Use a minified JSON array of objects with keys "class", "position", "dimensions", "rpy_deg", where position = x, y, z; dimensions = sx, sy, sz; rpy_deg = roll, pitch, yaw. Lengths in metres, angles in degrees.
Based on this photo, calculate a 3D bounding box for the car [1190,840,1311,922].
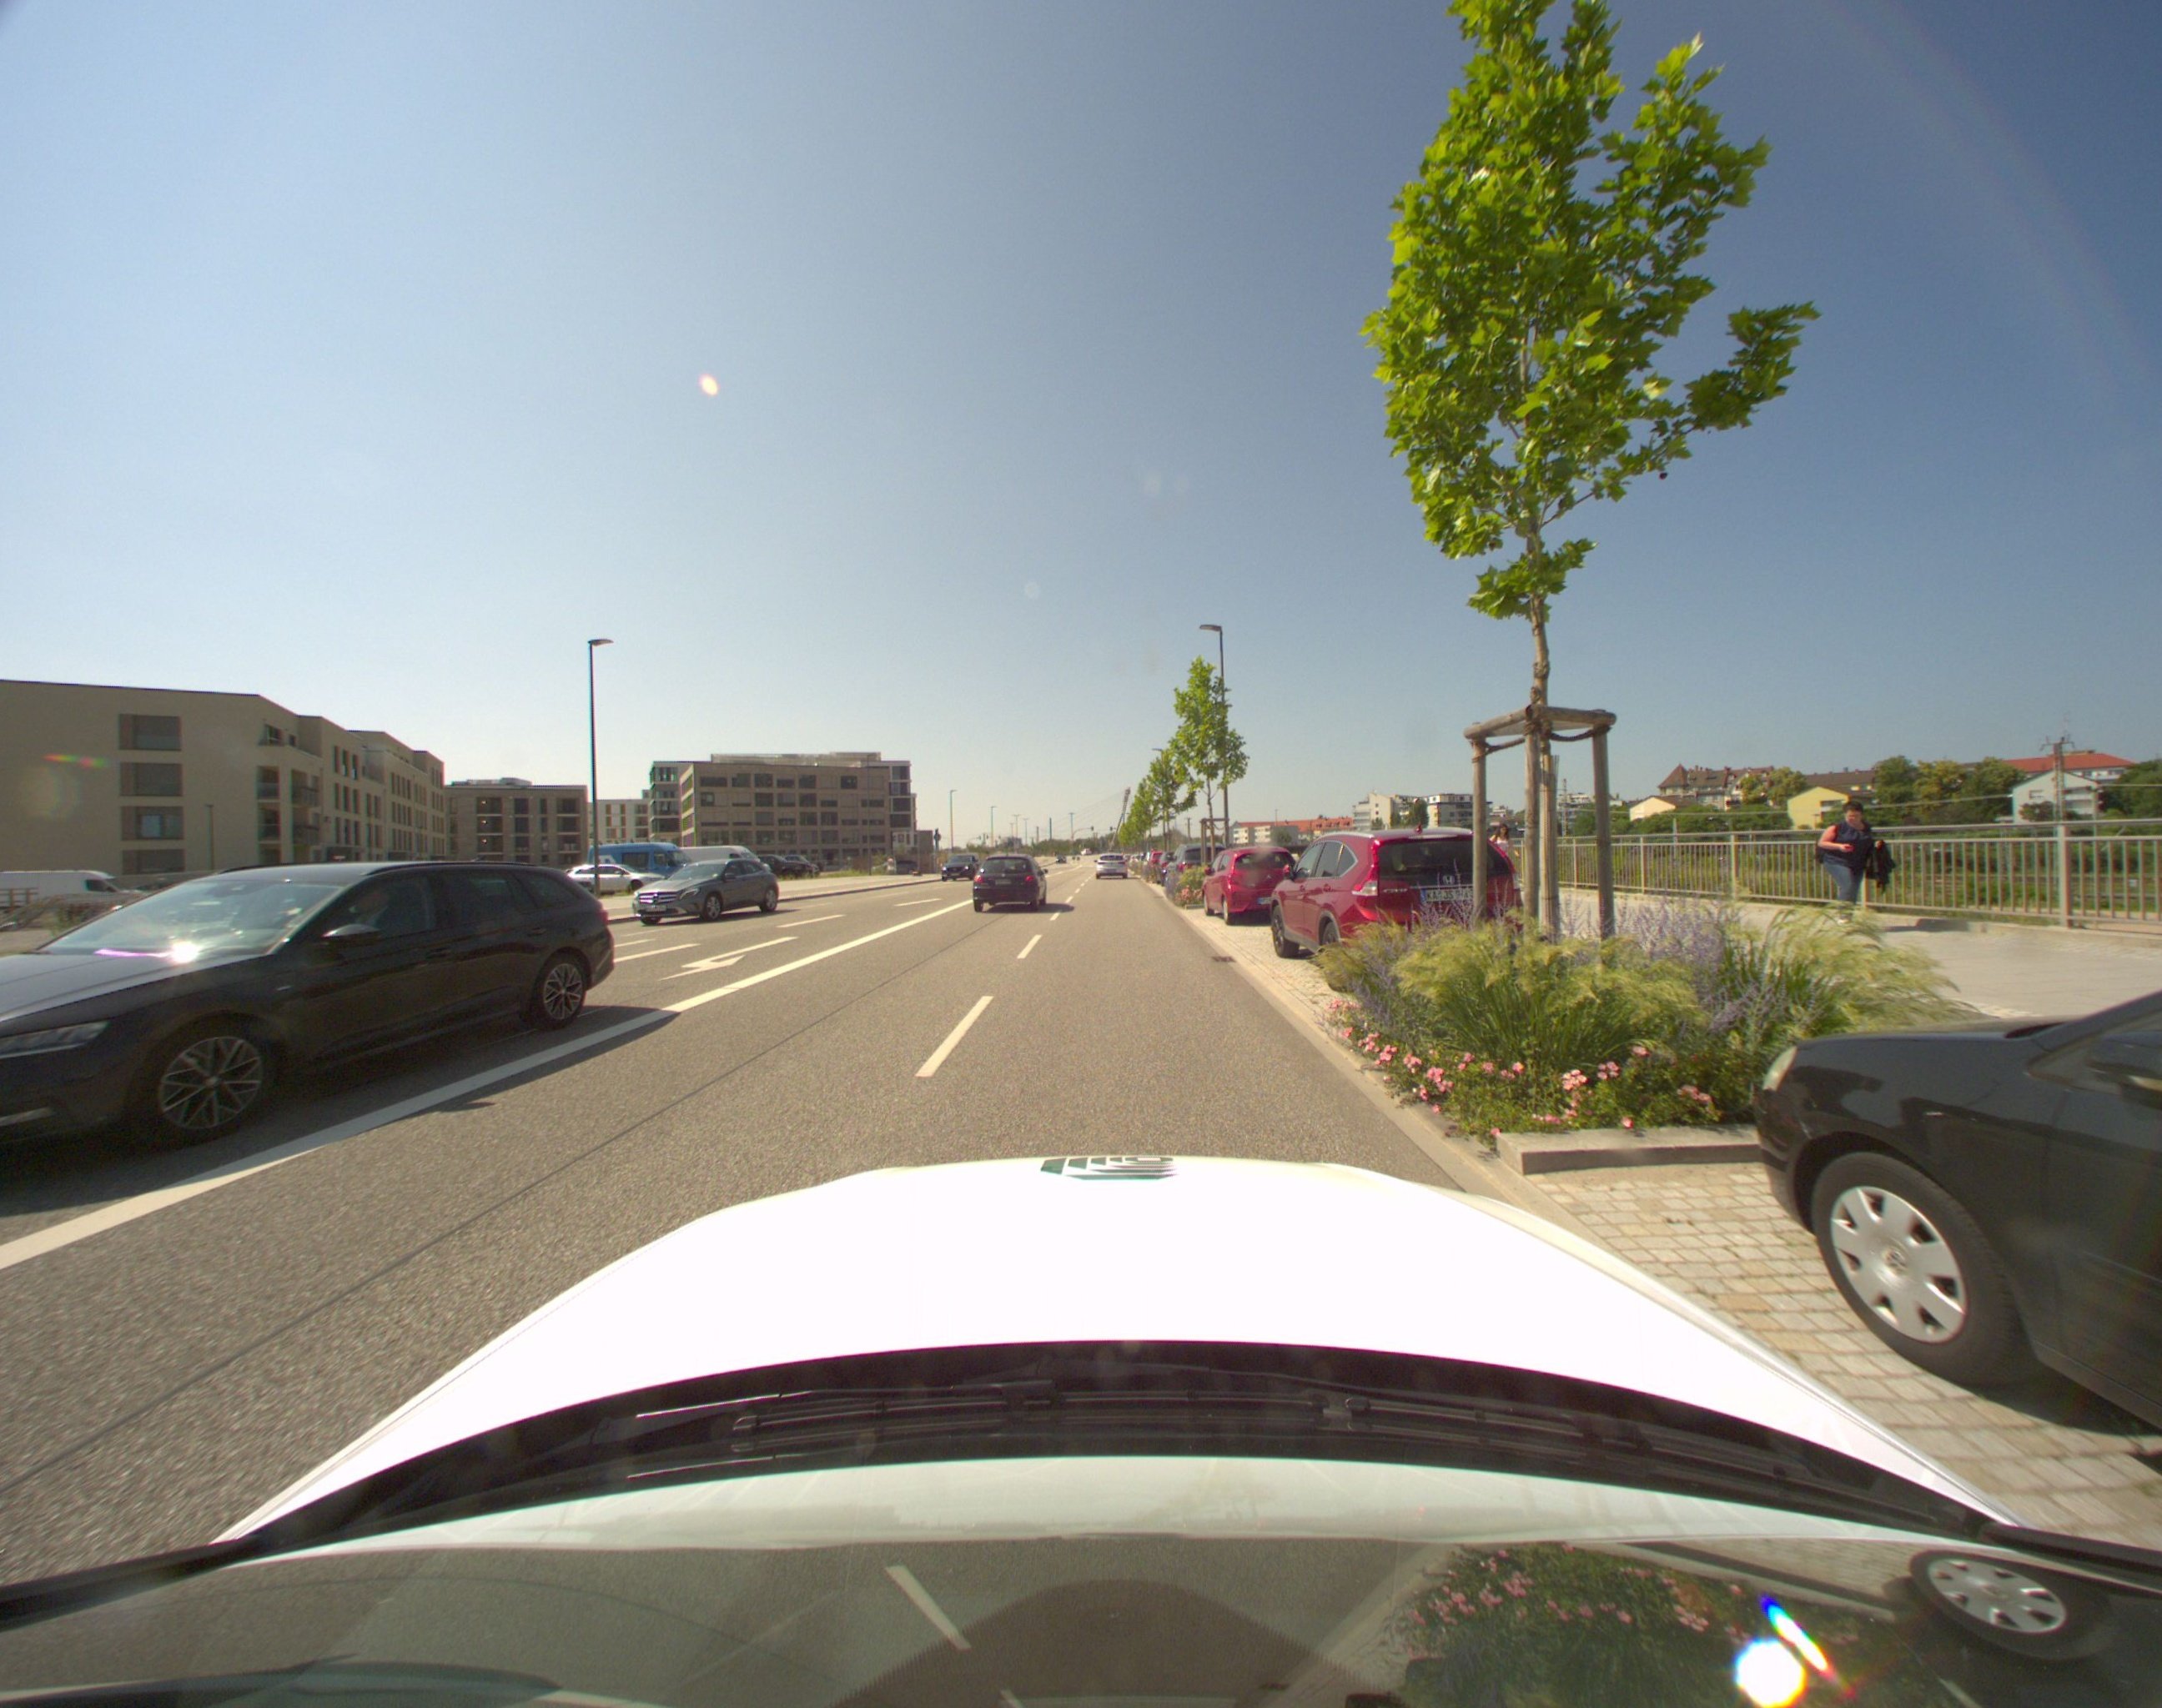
[{"class":"car","position":[3.499,0.517,17.484],"dimensions":[1.600,1.491,3.815],"rpy_deg":[-3,0,-3]}]

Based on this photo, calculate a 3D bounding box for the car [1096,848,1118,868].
[{"class":"car","position":[2.324,0.338,72.879],"dimensions":[1.785,1.750,4.005],"rpy_deg":[0,0,4]}]

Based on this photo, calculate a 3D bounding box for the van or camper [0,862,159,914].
[{"class":"van or camper","position":[-55.887,1.842,45.182],"dimensions":[5.959,2.559,1.913],"rpy_deg":[-2,0,-39]}]

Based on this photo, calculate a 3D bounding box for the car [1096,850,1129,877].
[{"class":"car","position":[1.824,0.493,46.689],"dimensions":[1.770,1.442,4.004],"rpy_deg":[0,0,4]}]

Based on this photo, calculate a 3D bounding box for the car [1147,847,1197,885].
[{"class":"car","position":[3.766,0.453,34.452],"dimensions":[1.627,1.429,4.241],"rpy_deg":[-3,0,1]}]

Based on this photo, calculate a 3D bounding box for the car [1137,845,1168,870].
[{"class":"car","position":[4.472,0.202,51.342],"dimensions":[1.711,1.524,3.644],"rpy_deg":[0,0,2]}]

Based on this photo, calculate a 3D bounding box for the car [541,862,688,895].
[{"class":"car","position":[-21.755,1.107,38.133],"dimensions":[5.633,1.474,2.106],"rpy_deg":[0,0,-1]}]

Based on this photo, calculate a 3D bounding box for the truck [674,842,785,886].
[{"class":"truck","position":[-20.910,0.597,48.637],"dimensions":[5.548,2.362,2.275],"rpy_deg":[-2,0,0]}]

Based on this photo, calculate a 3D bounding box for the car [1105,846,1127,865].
[{"class":"car","position":[3.077,0.117,70.690],"dimensions":[1.770,1.569,4.003],"rpy_deg":[0,-1,4]}]

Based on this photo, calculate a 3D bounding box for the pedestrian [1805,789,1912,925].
[{"class":"pedestrian","position":[10.006,0.040,10.506],"dimensions":[0.729,1.705,0.651],"rpy_deg":[0,-1,2]}]

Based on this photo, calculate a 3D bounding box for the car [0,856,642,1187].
[{"class":"car","position":[-5.393,0.739,5.844],"dimensions":[1.780,1.398,4.576],"rpy_deg":[0,0,3]}]

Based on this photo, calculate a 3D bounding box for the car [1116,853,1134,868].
[{"class":"car","position":[4.547,0.675,83.629],"dimensions":[1.738,1.509,4.005],"rpy_deg":[0,0,4]}]

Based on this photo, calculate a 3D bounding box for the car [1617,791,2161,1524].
[{"class":"car","position":[2.958,0.592,1.460],"dimensions":[1.613,1.479,3.827],"rpy_deg":[-2,1,3]}]

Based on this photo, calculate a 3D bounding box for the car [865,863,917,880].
[{"class":"car","position":[-17.554,1.606,75.322],"dimensions":[4.264,1.318,1.979],"rpy_deg":[-2,0,-34]}]

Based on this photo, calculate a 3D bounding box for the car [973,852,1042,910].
[{"class":"car","position":[-1.867,0.652,21.649],"dimensions":[1.615,1.416,3.724],"rpy_deg":[0,0,-2]}]

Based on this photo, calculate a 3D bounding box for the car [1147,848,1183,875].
[{"class":"car","position":[4.719,0.391,46.140],"dimensions":[1.711,1.451,4.002],"rpy_deg":[0,1,2]}]

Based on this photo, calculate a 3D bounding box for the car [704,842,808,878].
[{"class":"car","position":[-21.546,0.391,54.196],"dimensions":[5.865,2.165,2.394],"rpy_deg":[-2,1,-1]}]

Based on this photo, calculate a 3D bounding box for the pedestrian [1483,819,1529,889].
[{"class":"pedestrian","position":[10.581,0.010,20.299],"dimensions":[0.777,1.705,0.742],"rpy_deg":[0,-1,2]}]

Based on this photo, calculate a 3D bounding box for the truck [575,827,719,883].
[{"class":"truck","position":[-21.998,0.043,41.496],"dimensions":[5.988,2.543,2.274],"rpy_deg":[-2,0,-2]}]

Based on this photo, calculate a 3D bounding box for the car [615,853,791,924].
[{"class":"car","position":[-9.355,0.785,20.620],"dimensions":[1.892,1.495,4.397],"rpy_deg":[-3,0,8]}]

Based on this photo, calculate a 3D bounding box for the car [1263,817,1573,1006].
[{"class":"car","position":[3.487,0.480,9.482],"dimensions":[1.900,1.616,4.552],"rpy_deg":[-2,1,3]}]

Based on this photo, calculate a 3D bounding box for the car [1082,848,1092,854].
[{"class":"car","position":[1.496,-0.738,208.061],"dimensions":[1.856,1.649,3.984],"rpy_deg":[0,0,-12]}]

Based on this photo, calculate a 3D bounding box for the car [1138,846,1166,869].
[{"class":"car","position":[5.164,0.264,59.057],"dimensions":[1.899,1.577,4.163],"rpy_deg":[-2,0,5]}]

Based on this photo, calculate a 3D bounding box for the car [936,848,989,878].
[{"class":"car","position":[-6.817,0.482,47.343],"dimensions":[1.893,1.628,4.395],"rpy_deg":[-2,0,6]}]

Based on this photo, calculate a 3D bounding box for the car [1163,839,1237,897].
[{"class":"car","position":[3.720,0.410,26.037],"dimensions":[1.728,1.608,4.241],"rpy_deg":[-3,0,1]}]

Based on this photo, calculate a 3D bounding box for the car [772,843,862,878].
[{"class":"car","position":[-18.438,0.433,57.133],"dimensions":[5.428,2.173,2.394],"rpy_deg":[-2,0,-2]}]

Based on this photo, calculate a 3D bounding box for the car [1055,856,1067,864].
[{"class":"car","position":[-3.496,1.038,141.687],"dimensions":[1.697,1.352,4.458],"rpy_deg":[-2,-1,2]}]
